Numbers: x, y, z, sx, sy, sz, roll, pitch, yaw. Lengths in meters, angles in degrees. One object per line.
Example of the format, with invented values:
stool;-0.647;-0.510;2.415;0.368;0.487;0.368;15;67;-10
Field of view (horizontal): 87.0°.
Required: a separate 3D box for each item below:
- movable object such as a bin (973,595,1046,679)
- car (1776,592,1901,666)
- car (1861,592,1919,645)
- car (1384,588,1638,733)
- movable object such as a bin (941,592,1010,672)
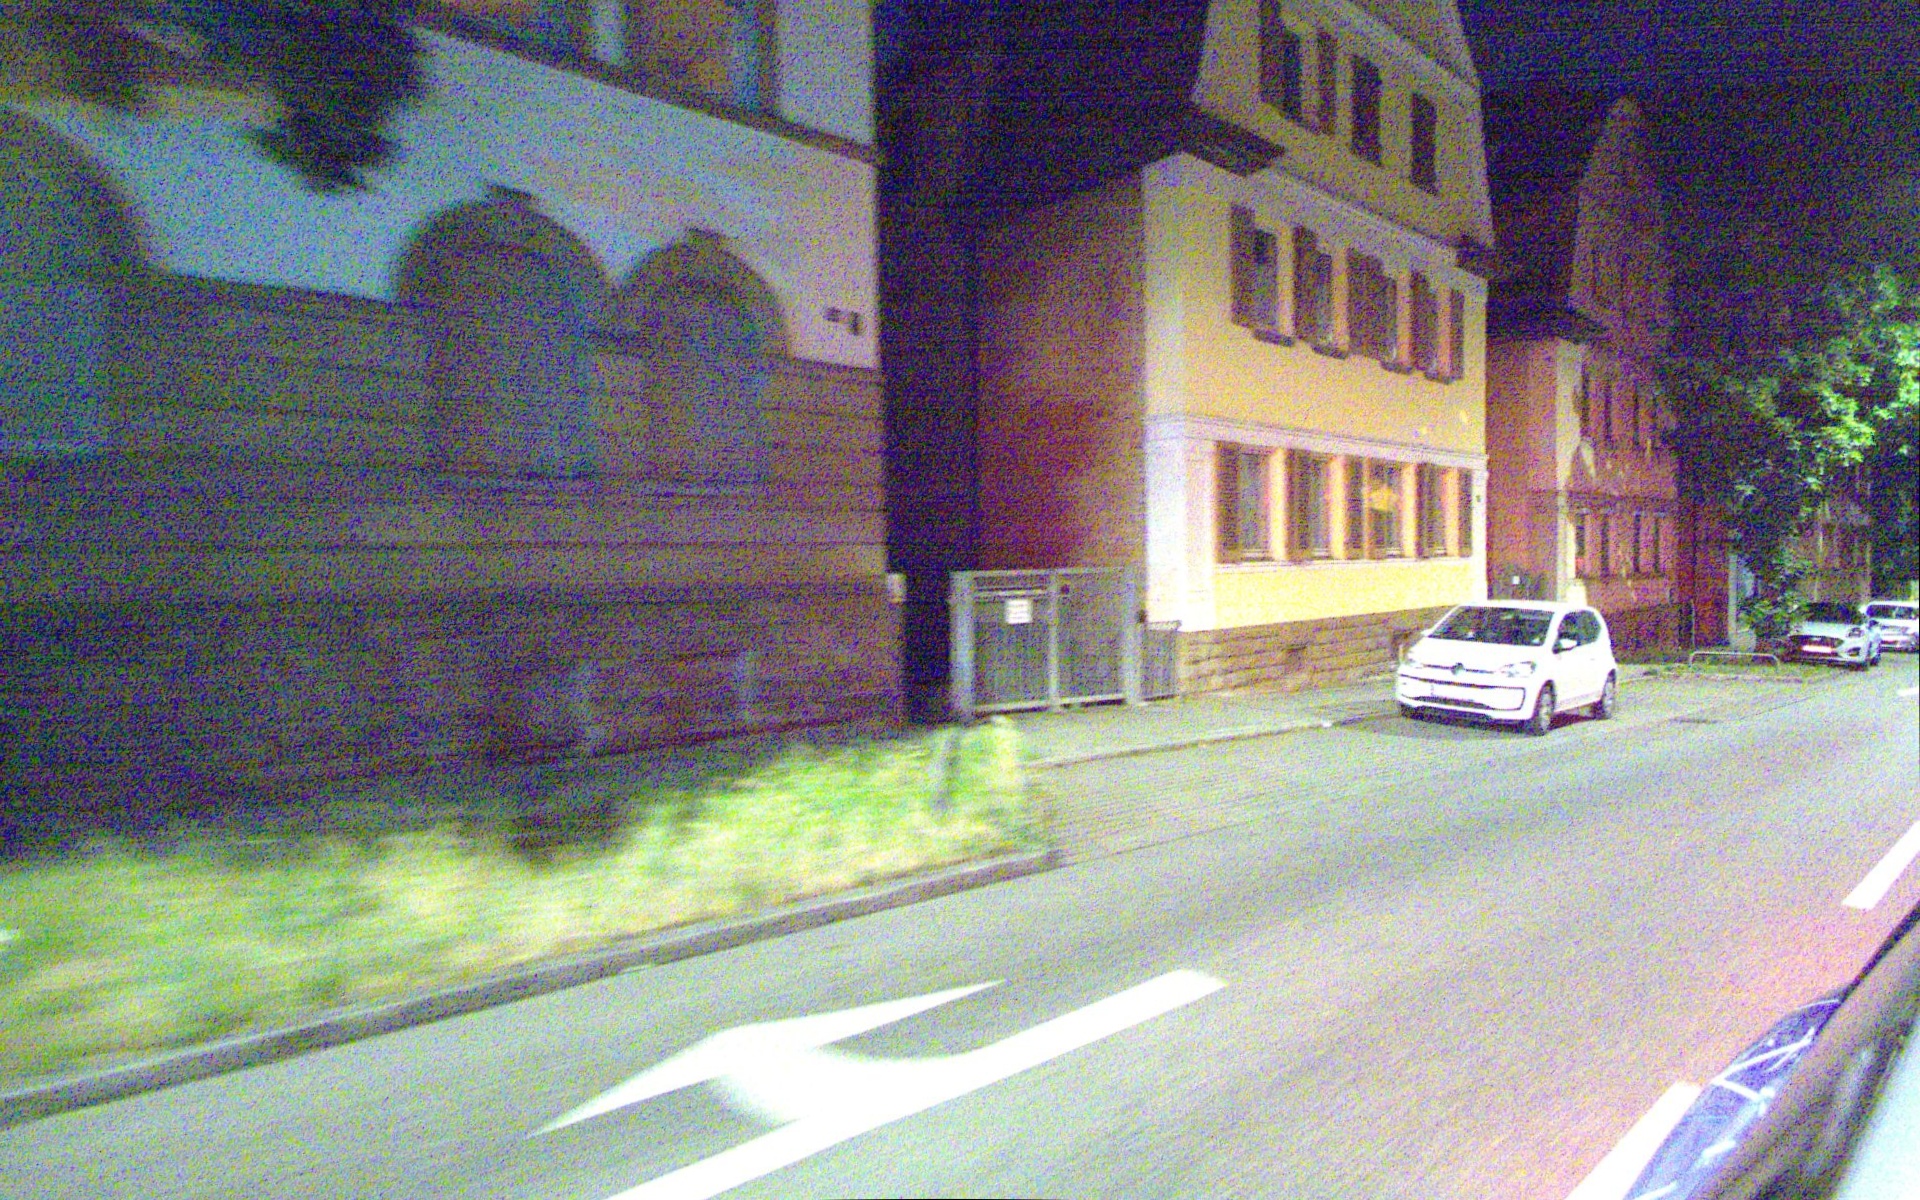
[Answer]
movable object such as a bin;0.654;0.466;13.325;0.742;1.062;0.608;0;0;-41
car;21.335;0.647;24.532;3.977;1.572;1.862;0;2;-43
car;31.268;0.595;33.339;4.281;1.617;1.742;0;2;-40
car;6.954;0.645;12.648;3.541;1.503;1.671;0;2;-42
movable object such as a bin;0.219;0.425;13.997;0.742;1.062;0.608;0;0;-41
